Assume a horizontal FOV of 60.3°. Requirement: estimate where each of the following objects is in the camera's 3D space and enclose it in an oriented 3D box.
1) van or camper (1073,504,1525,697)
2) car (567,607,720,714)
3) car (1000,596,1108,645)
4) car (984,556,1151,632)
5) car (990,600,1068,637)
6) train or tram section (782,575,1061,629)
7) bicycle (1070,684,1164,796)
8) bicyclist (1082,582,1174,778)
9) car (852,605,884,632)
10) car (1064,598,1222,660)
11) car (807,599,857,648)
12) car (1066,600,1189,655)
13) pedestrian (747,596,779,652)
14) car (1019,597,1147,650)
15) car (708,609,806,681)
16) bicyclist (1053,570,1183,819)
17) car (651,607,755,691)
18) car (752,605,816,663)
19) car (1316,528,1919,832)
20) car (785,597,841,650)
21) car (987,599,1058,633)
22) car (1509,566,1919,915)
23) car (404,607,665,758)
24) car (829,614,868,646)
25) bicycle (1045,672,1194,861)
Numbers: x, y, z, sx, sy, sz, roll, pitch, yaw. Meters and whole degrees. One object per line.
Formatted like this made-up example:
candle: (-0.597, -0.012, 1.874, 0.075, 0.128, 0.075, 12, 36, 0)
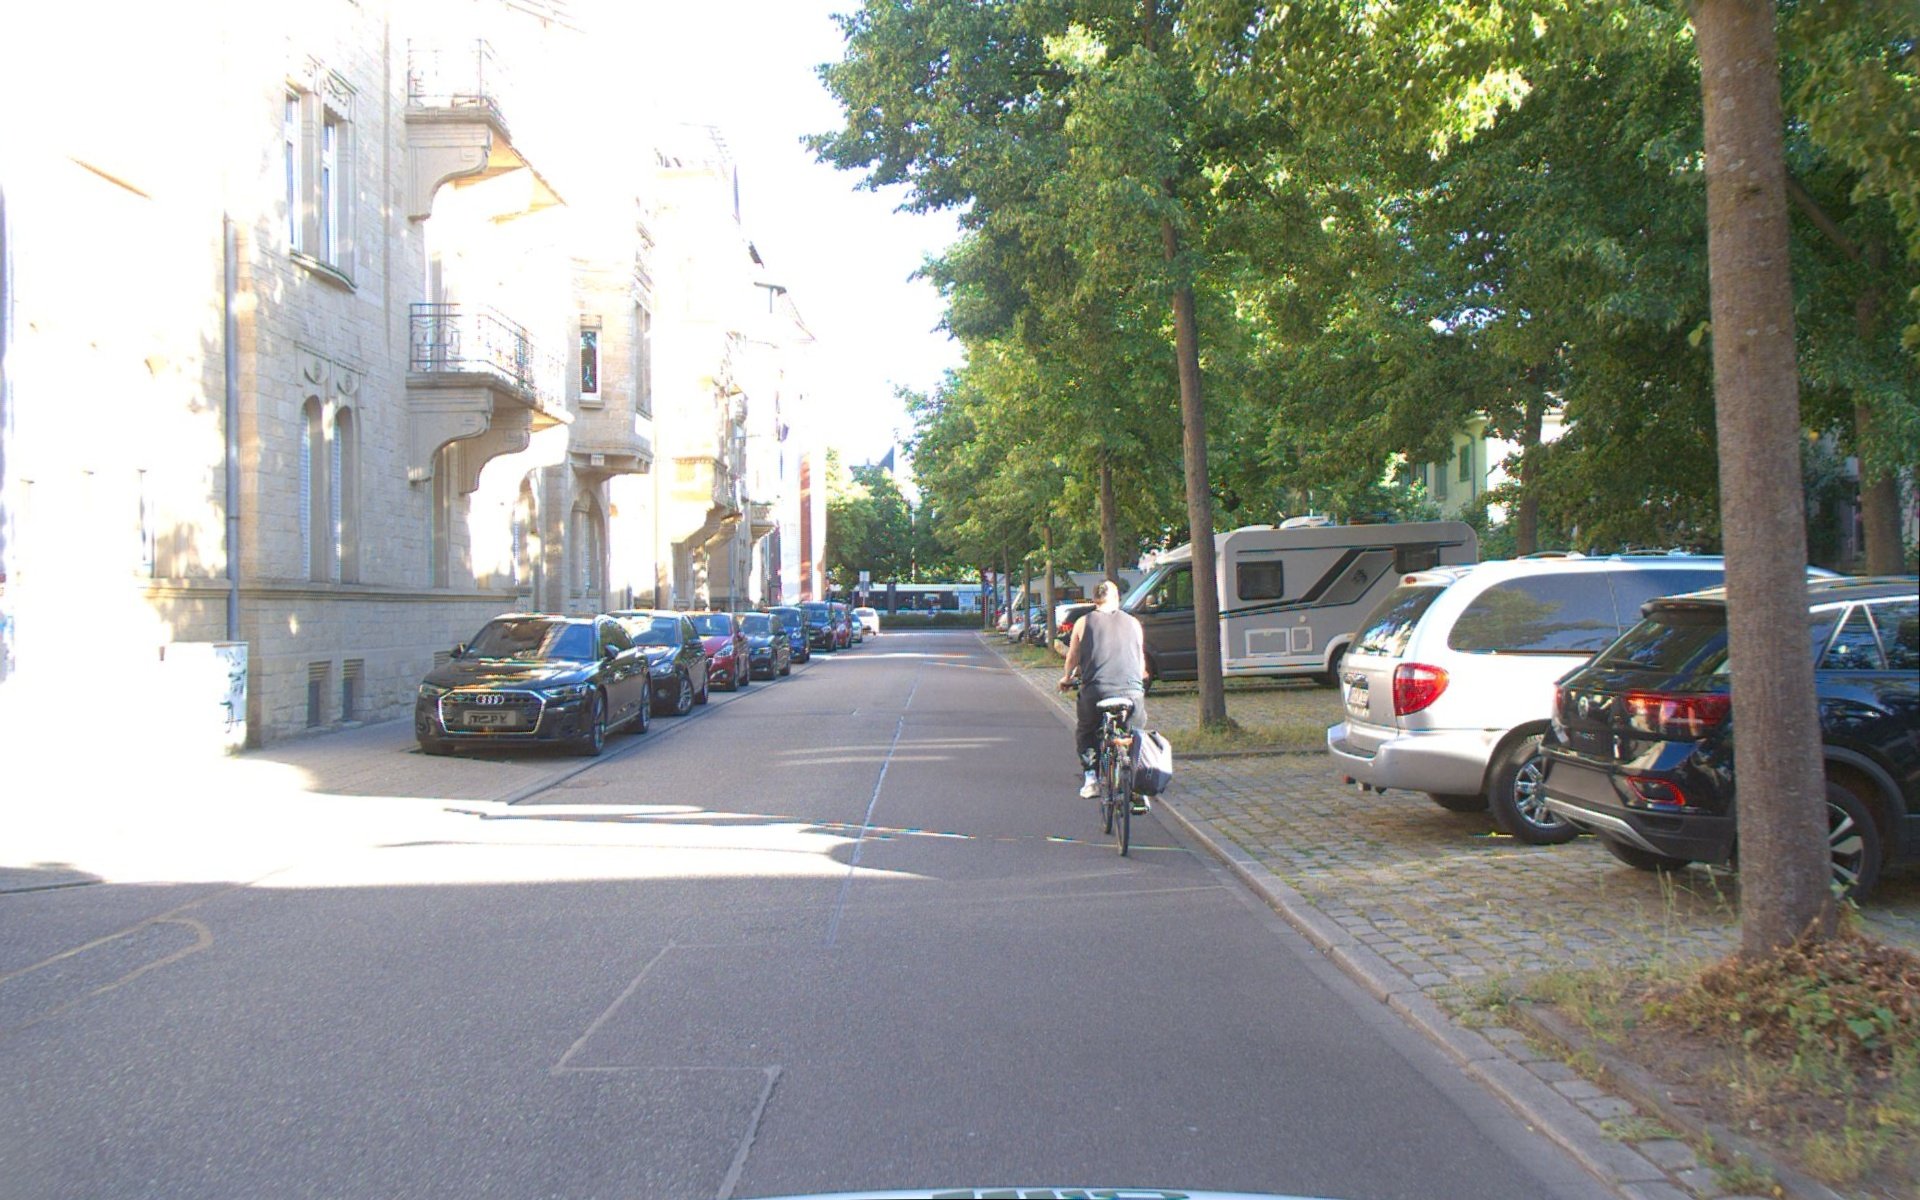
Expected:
van or camper: (5.523, 0.014, 27.826, 7.000, 2.693, 2.465, -3, 0, 1)
car: (-4.686, 0.869, 24.982, 1.662, 1.479, 4.026, 0, -1, -2)
car: (3.685, 0.806, 65.260, 4.001, 1.678, 1.640, -3, -1, -3)
car: (4.657, -0.259, 72.613, 7.005, 3.030, 2.462, -2, -1, -4)
car: (3.613, 1.000, 87.014, 3.907, 1.835, 1.833, 1, -1, -3)
train or tram section: (-2.998, 0.255, 138.314, 23.483, 3.773, 4.255, 2, -1, -23)
bicycle: (1.341, 1.189, 14.438, 0.620, 0.813, 1.832, -1, 0, -1)
bicyclist: (1.467, 0.683, 14.574, 0.675, 1.655, 0.998, 1, -1, -1)
car: (-5.301, 1.053, 95.668, 1.551, 1.399, 4.131, 2, 0, 0)
car: (4.977, 0.803, 45.324, 4.136, 1.628, 1.691, -1, -2, 1)
car: (-5.167, 0.907, 67.328, 1.654, 1.857, 4.272, 2, 0, 0)
car: (5.201, 0.875, 51.813, 3.695, 1.628, 1.691, -1, -2, 1)
pedestrian: (-6.376, 0.770, 53.644, 0.919, 1.773, 0.735, 1, -1, -1)
car: (3.992, 0.785, 54.113, 4.053, 1.628, 1.702, -1, -2, 1)
car: (-4.583, 0.977, 37.902, 1.641, 1.455, 4.550, 2, 0, 0)
bicyclist: (1.036, 0.613, 11.031, 0.715, 1.575, 0.884, 2, -1, -2)
car: (-4.939, 0.907, 32.236, 1.596, 1.479, 3.835, 1, 0, -3)
car: (-5.011, 0.947, 47.364, 1.564, 1.515, 2.735, 3, 0, -2)
car: (4.855, 0.468, 11.054, 4.524, 1.739, 1.833, -2, 0, 1)
car: (-5.330, 0.820, 60.369, 1.607, 1.814, 4.354, 2, 0, 0)
car: (3.591, 0.931, 94.902, 3.907, 1.835, 1.833, 1, -1, -3)
car: (5.137, 0.587, 8.538, 3.985, 1.502, 1.694, -3, 0, 0)
car: (-4.725, 0.863, 19.135, 1.774, 1.452, 4.896, 2, -1, -1)
car: (-5.242, 1.379, 78.200, 1.551, 1.367, 4.131, 2, 0, 0)
bicycle: (1.021, 1.054, 11.025, 0.722, 1.072, 1.955, 2, -1, -2)
